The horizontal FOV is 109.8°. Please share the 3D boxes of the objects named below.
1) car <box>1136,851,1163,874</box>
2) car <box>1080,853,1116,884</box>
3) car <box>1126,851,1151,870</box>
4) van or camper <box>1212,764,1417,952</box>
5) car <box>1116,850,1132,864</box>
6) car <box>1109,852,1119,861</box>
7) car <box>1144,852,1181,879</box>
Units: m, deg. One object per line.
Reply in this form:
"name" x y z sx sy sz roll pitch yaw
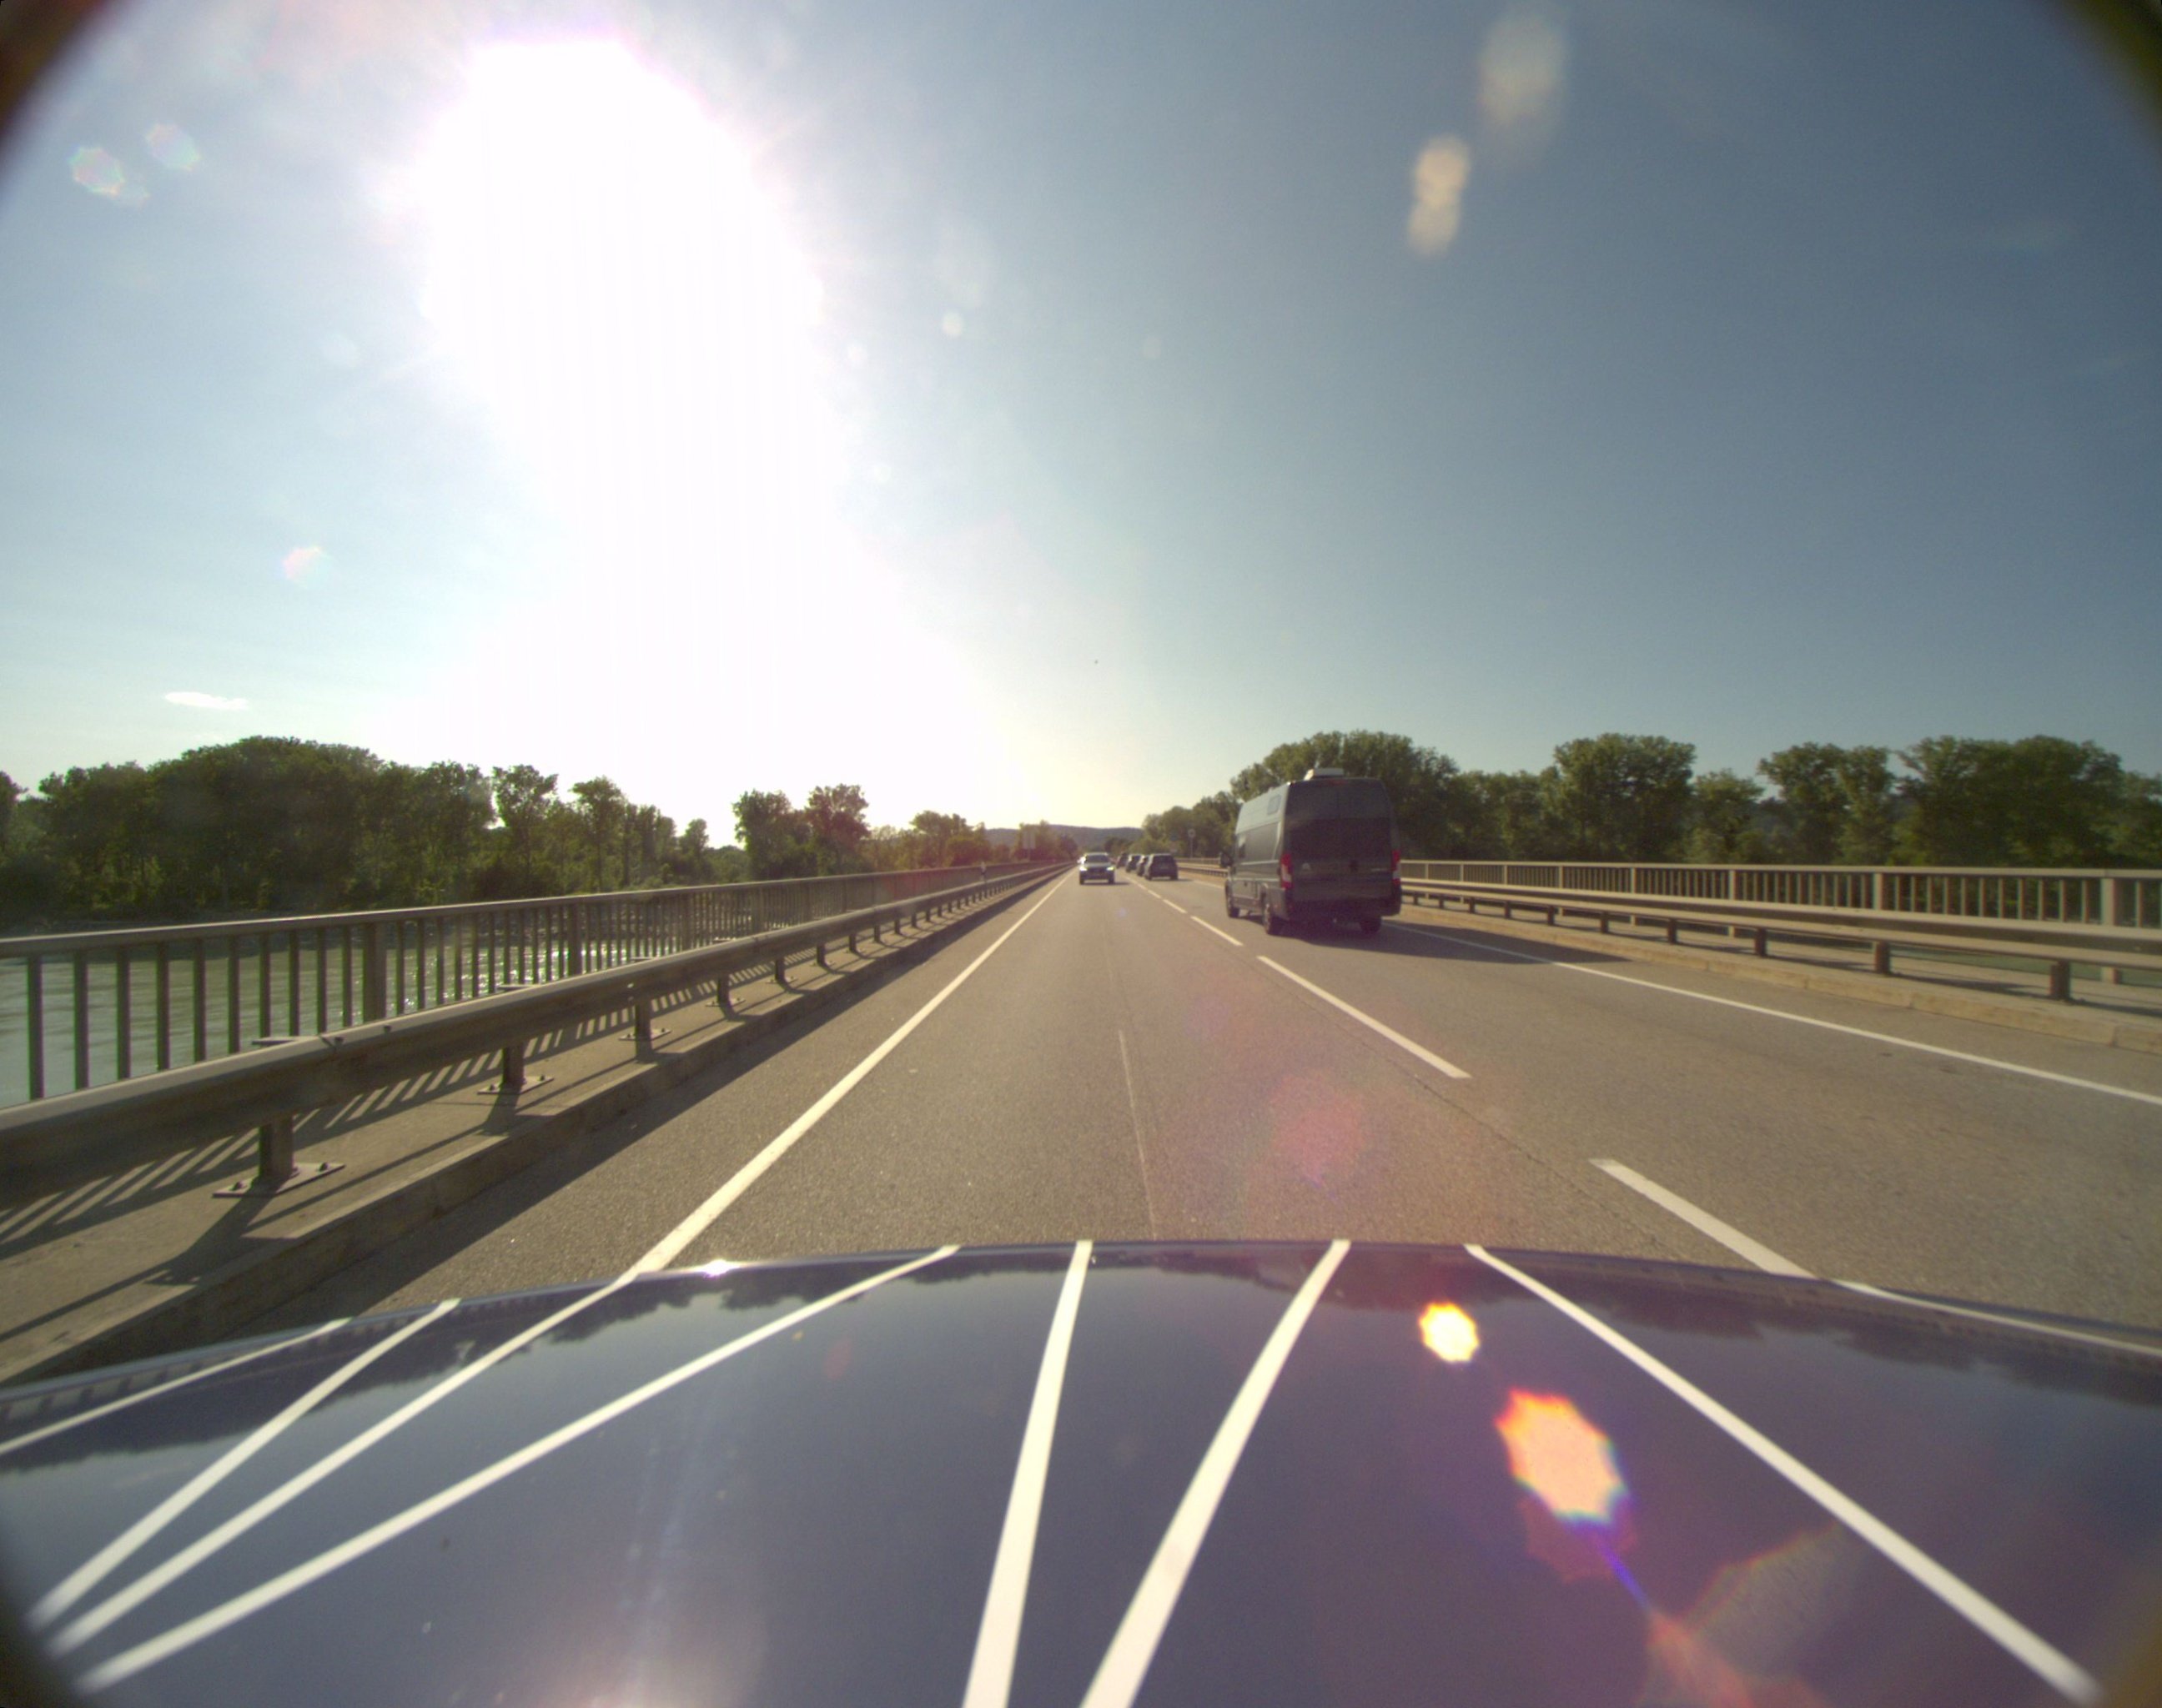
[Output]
"car" 5.104 0.604 56.868 1.810 1.568 4.201 -2 0 3
"car" 0.990 0.778 43.229 1.871 1.598 4.380 -2 0 2
"car" 5.402 0.590 71.744 2.058 1.643 4.721 -3 0 2
"van or camper" 4.423 0.063 15.902 2.321 3.033 6.817 -2 0 2
"car" 5.462 0.406 97.017 1.859 1.712 4.566 -2 0 1
"car" 6.121 0.455 141.422 1.770 1.439 4.456 -2 0 0
"car" 5.003 0.681 47.033 1.879 1.574 4.274 -1 0 1
